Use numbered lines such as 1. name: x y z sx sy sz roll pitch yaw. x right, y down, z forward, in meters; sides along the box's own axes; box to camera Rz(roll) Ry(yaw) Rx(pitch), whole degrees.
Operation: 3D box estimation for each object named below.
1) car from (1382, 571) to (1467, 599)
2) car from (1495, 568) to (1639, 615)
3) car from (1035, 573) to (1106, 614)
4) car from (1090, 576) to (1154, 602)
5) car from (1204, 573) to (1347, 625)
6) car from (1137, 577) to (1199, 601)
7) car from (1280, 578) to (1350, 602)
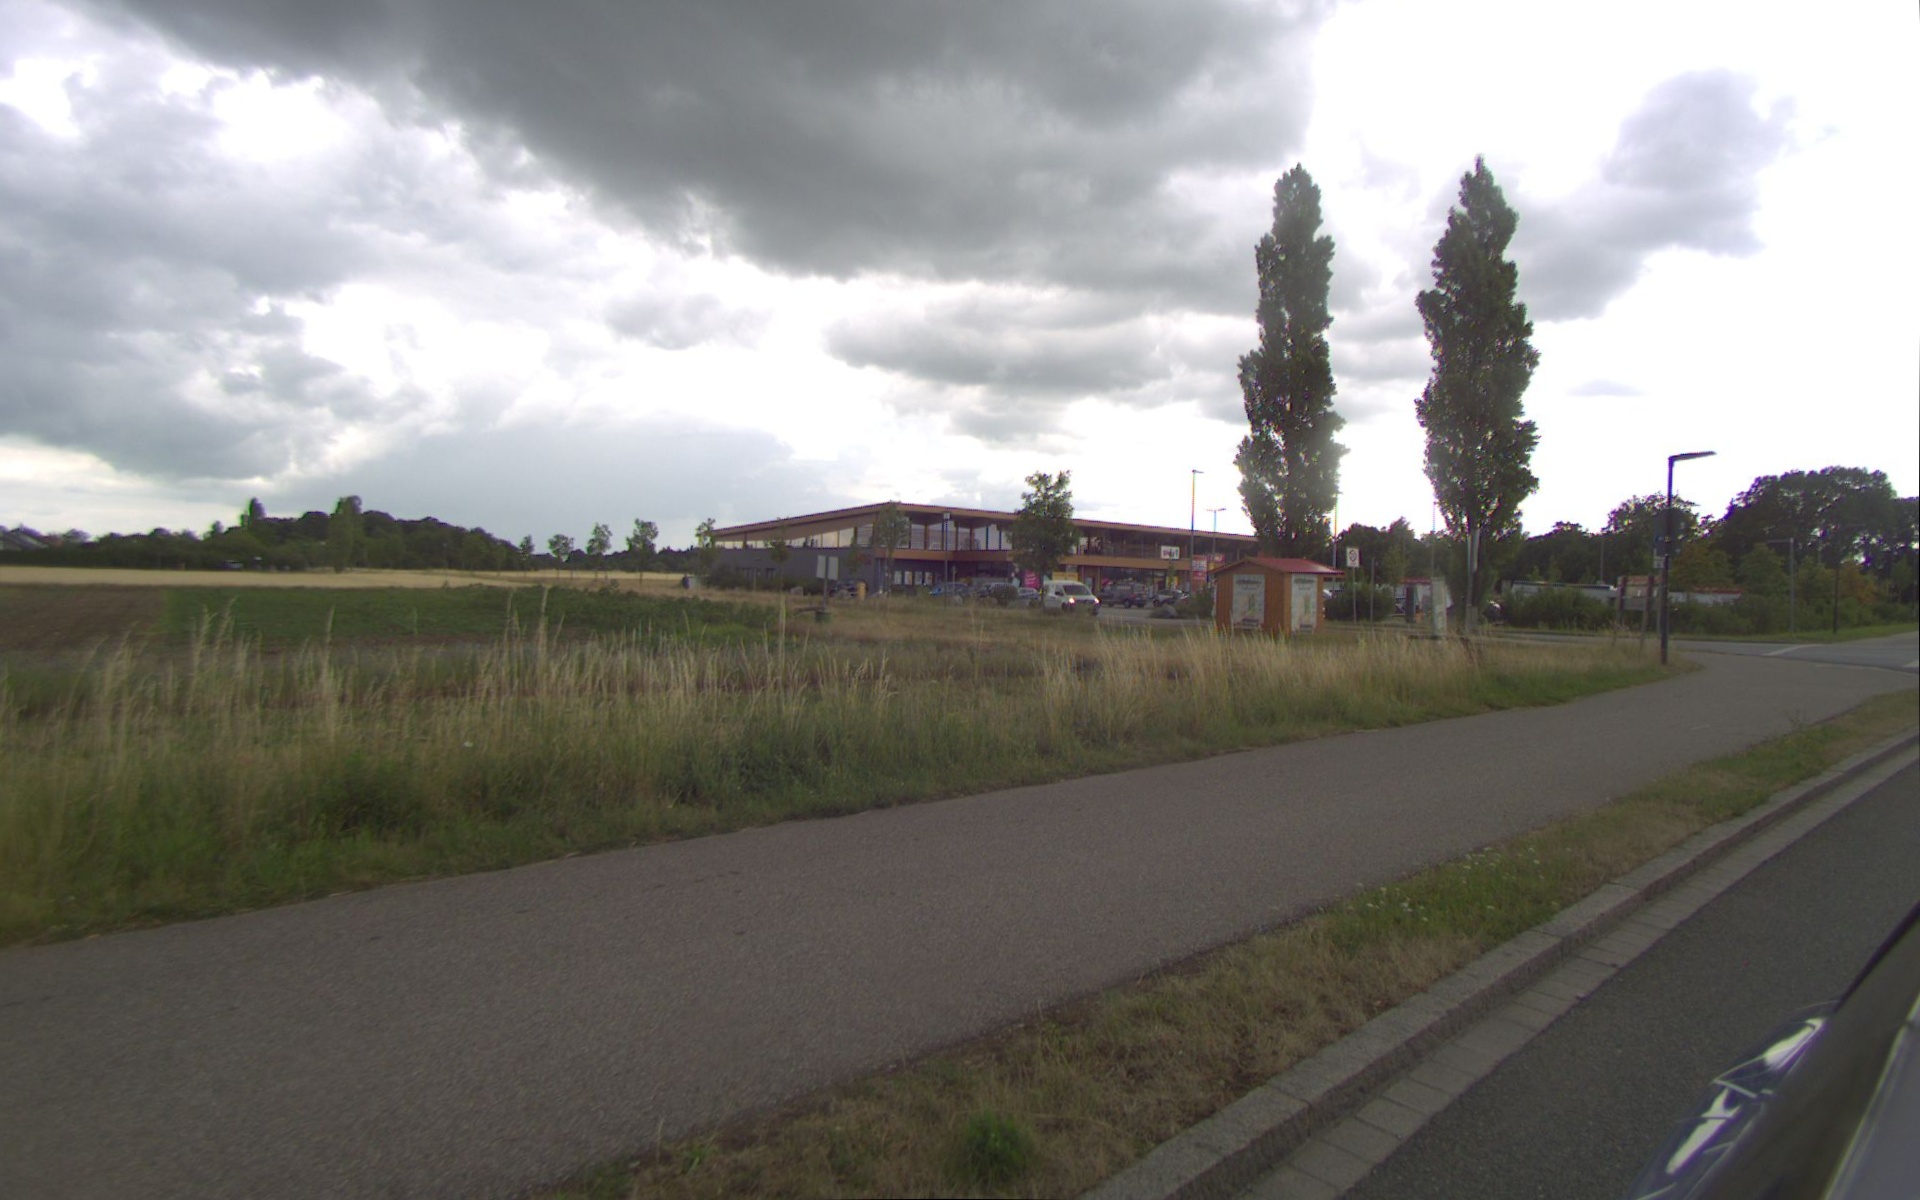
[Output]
1. car: 34.898 -1.072 76.138 5.510 2.039 1.968 0 0 44
2. car: 28.378 -0.390 47.433 5.510 2.039 1.968 0 0 44
3. car: 5.777 -0.358 53.635 1.958 2.039 5.328 0 0 -14
4. car: 13.033 -0.853 81.685 4.840 2.039 1.969 0 0 43
5. car: 13.255 -0.069 42.827 2.516 2.039 5.312 -1 0 -39
6. car: 17.727 -0.933 86.362 4.840 2.039 1.969 0 0 43
7. car: 31.059 -0.830 88.643 5.510 2.039 1.968 0 0 44
